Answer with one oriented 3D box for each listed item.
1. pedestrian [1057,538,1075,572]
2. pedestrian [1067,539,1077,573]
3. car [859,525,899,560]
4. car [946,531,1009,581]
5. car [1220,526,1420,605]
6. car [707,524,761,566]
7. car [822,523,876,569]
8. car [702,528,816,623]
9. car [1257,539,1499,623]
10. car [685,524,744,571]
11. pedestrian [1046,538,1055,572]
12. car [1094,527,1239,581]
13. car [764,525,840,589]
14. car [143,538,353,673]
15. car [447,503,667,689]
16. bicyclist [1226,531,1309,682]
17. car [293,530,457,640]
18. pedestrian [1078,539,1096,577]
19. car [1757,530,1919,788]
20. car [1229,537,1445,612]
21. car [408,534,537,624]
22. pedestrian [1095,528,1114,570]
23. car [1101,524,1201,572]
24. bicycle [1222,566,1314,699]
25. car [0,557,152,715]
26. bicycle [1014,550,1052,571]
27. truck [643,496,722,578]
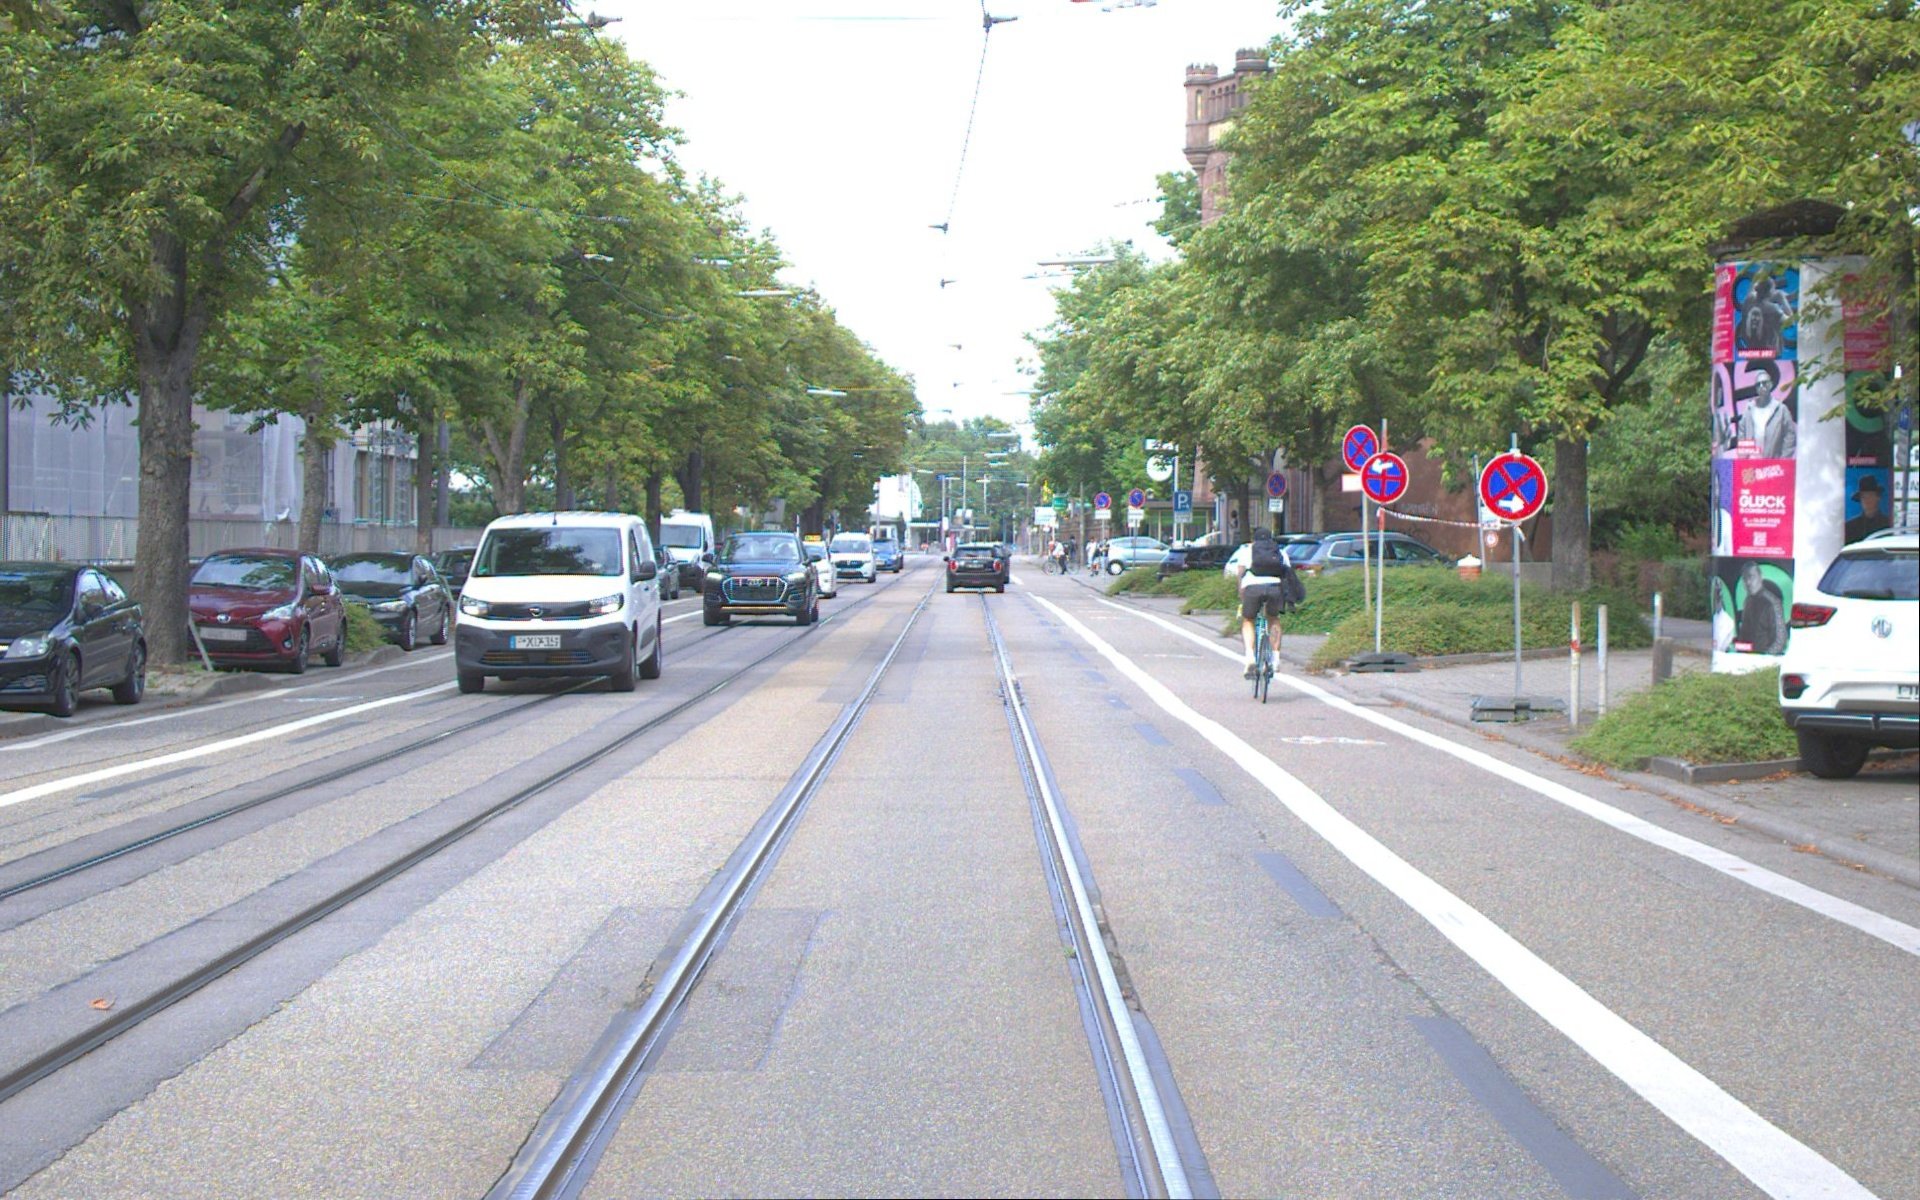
[{"bbox_3d":[5.129,-2.197,166.930,0.726,1.640,0.766,2,1,10],"label":"pedestrian"},{"bbox_3d":[6.668,-2.634,204.953,0.518,2.007,0.480,1,1,4],"label":"pedestrian"},{"bbox_3d":[-3.815,-2.714,162.059,1.802,1.616,4.485,-1,1,-1],"label":"car"},{"bbox_3d":[0.495,-1.313,102.437,1.793,1.418,4.000,1,1,0],"label":"car"},{"bbox_3d":[7.661,-0.739,73.346,3.986,1.622,1.885,1,1,-3],"label":"car"},{"bbox_3d":[-8.653,-2.112,131.838,1.802,1.578,4.031,-1,1,-1],"label":"car"},{"bbox_3d":[-3.952,-1.937,123.086,1.802,1.616,4.485,-1,1,-1],"label":"car"},{"bbox_3d":[-3.557,-0.468,61.481,1.802,1.616,4.485,-1,1,-1],"label":"car"},{"bbox_3d":[7.399,-0.353,61.046,3.986,1.420,1.885,1,1,-3],"label":"car"},{"bbox_3d":[-8.462,-1.812,118.726,1.802,1.578,4.031,-1,1,-1],"label":"car"},{"bbox_3d":[5.381,-2.649,204.256,0.518,2.007,0.480,1,1,4],"label":"pedestrian"},{"bbox_3d":[5.928,-1.331,98.988,3.986,1.503,1.885,1,1,-3],"label":"car"},{"bbox_3d":[-4.104,-1.137,89.860,1.802,1.616,4.485,-1,1,-1],"label":"car"},{"bbox_3d":[-8.820,0.030,42.890,1.802,1.578,4.031,-1,1,-1],"label":"car"},{"bbox_3d":[-4.157,-0.077,36.077,1.802,1.817,4.485,-1,1,-1],"label":"car"},{"bbox_3d":[3.059,0.052,34.256,0.657,1.458,1.179,1,1,-1],"label":"bicyclist"},{"bbox_3d":[-8.754,-0.253,51.758,1.802,1.578,4.031,-1,1,-1],"label":"car"},{"bbox_3d":[5.445,-1.804,147.877,0.726,1.640,0.766,1,1,2],"label":"pedestrian"},{"bbox_3d":[6.936,0.350,22.439,3.437,1.567,1.560,0,1,-38],"label":"car"},{"bbox_3d":[7.418,-0.516,67.946,3.986,1.420,1.885,1,1,-3],"label":"car"},{"bbox_3d":[-8.822,-0.404,62.492,1.802,1.578,4.031,-1,1,-1],"label":"car"},{"bbox_3d":[5.827,-2.052,138.405,0.726,1.640,0.766,1,1,2],"label":"pedestrian"},{"bbox_3d":[8.043,-2.210,145.151,3.986,1.904,2.000,1,1,-2],"label":"car"},{"bbox_3d":[3.060,0.304,34.301,0.657,1.244,2.125,1,1,-1],"label":"bicycle"},{"bbox_3d":[-9.010,0.301,32.501,1.802,1.369,4.031,-1,1,-1],"label":"car"},{"bbox_3d":[3.550,-1.921,167.192,1.721,0.988,0.658,2,1,9],"label":"bicycle"},{"bbox_3d":[-8.528,-1.954,106.120,2.071,2.462,4.899,-1,1,-1],"label":"truck"}]
